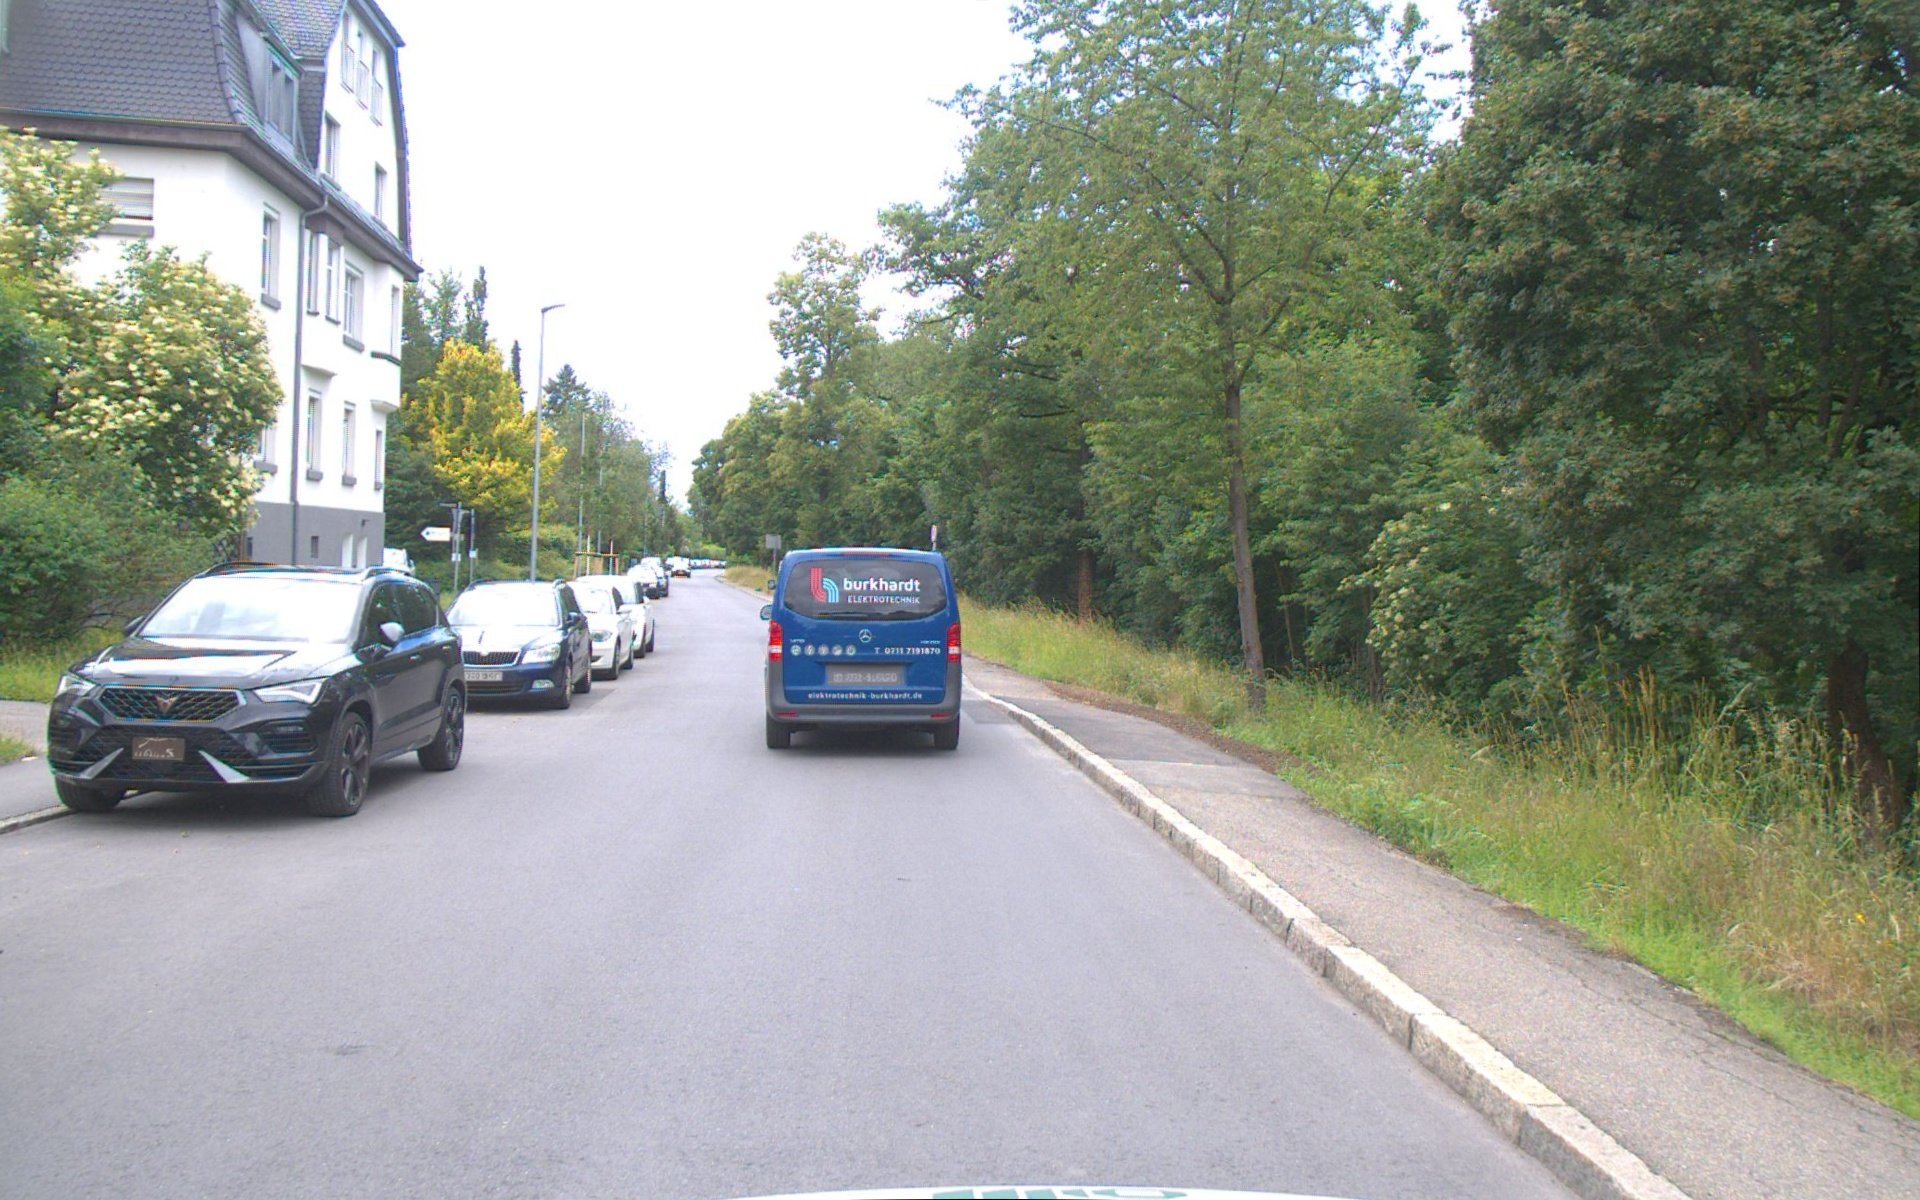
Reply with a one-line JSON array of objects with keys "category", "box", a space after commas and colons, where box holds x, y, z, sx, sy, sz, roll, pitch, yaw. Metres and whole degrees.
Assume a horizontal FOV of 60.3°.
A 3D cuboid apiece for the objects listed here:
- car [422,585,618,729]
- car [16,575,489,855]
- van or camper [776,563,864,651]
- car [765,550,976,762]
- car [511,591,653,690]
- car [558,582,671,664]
[{"category": "car", "box": [-5.335, 0.627, 20.482, 1.575, 1.539, 3.854, 1, 1, -3]}, {"category": "car", "box": [-4.789, 0.666, 11.924, 1.779, 1.644, 4.221, 1, 1, -3]}, {"category": "van or camper", "box": [-3.477, 0.097, 40.370, 1.981, 1.991, 4.889, -1, 1, -7]}, {"category": "car", "box": [-1.021, 0.436, 16.809, 1.877, 1.869, 4.288, 0, 2, -6]}, {"category": "car", "box": [-5.883, 0.578, 26.111, 1.575, 1.366, 3.853, 1, 1, -4]}, {"category": "car", "box": [-6.668, 0.410, 32.255, 1.575, 1.432, 3.854, 1, 1, -3]}]
